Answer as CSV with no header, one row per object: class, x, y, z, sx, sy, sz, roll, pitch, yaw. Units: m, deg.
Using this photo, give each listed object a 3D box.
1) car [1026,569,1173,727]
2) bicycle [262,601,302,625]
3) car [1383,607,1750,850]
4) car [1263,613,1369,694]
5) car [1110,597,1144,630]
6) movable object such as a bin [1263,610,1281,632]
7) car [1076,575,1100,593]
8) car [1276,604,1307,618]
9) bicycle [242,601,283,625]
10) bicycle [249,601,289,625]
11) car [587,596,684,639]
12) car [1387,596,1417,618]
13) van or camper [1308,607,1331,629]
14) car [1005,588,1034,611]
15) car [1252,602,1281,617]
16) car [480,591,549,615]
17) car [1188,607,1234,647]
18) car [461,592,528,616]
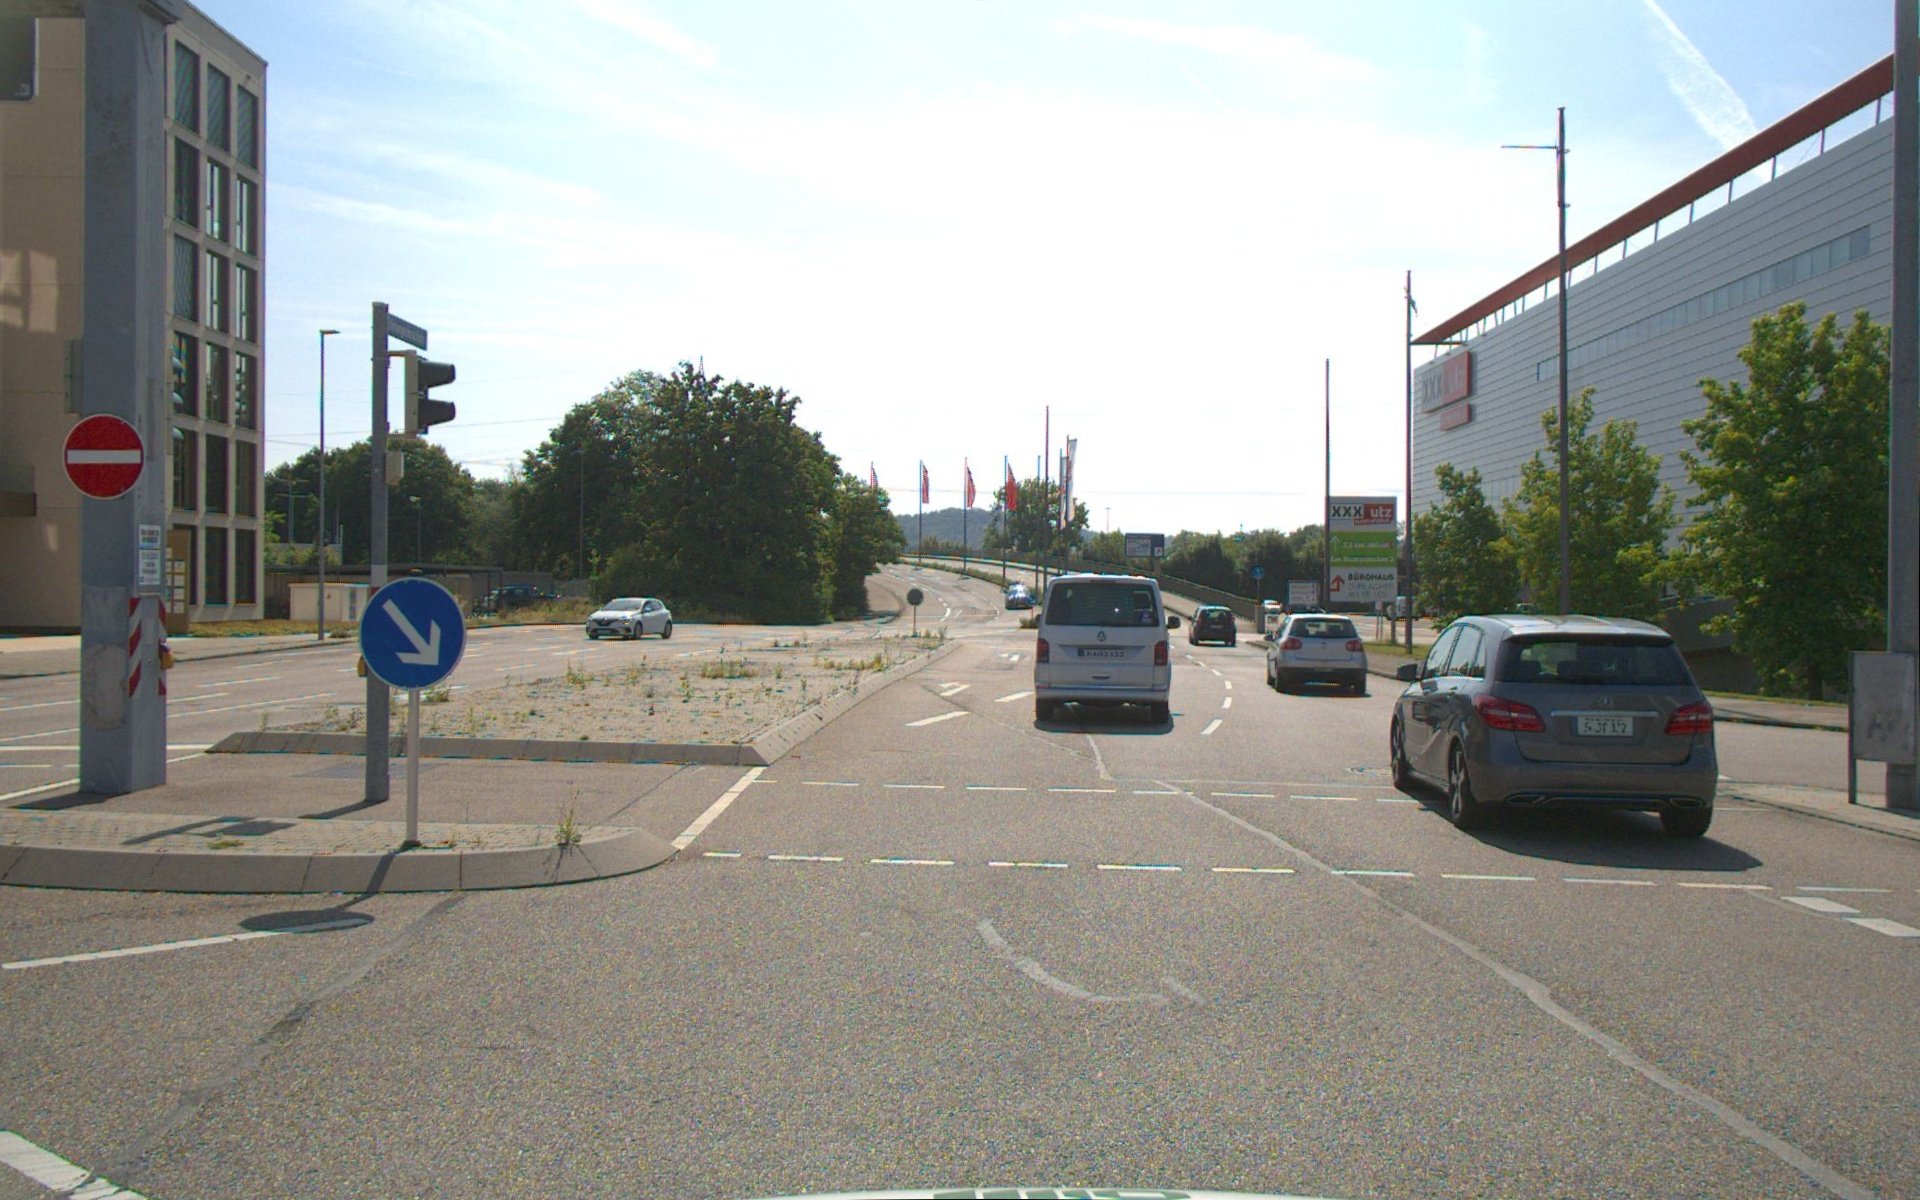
car,2.006,0.610,23.544,1.876,2.010,4.300,1,0,5
bicycle,-32.838,0.618,80.113,1.667,1.110,0.588,1,0,1
car,4.589,0.868,13.165,1.736,1.566,4.140,2,0,6
car,6.991,1.018,32.738,1.631,1.439,3.685,1,0,6
car,7.995,0.623,79.492,1.499,1.505,3.249,2,0,4
movable object such as a bin,16.495,1.122,87.445,0.793,1.133,1.182,1,0,4
car,11.033,-1.383,142.406,1.501,1.505,3.421,2,0,-5
car,35.605,1.158,177.945,1.957,1.445,3.992,3,-1,-9
bicycle,-32.825,0.616,77.834,1.667,1.110,0.588,1,0,1
bicycle,-32.800,0.623,78.526,1.667,1.110,0.588,1,0,1
car,-11.508,0.648,58.954,1.744,1.486,4.336,0,-1,14
car,37.793,0.579,141.485,1.638,1.782,4.095,1,1,4
van or camper,40.894,2.060,187.982,2.054,2.216,5.440,3,-1,17
car,4.477,-0.048,123.664,1.875,1.634,4.275,1,0,6
car,32.946,0.994,177.885,1.849,1.545,3.991,3,-1,-9
car,-27.518,0.200,102.151,4.038,1.445,1.718,1,-1,-20
car,9.988,1.051,65.952,1.499,1.505,3.598,2,0,5
car,-30.129,0.284,107.060,4.038,1.445,1.718,1,-1,-20
